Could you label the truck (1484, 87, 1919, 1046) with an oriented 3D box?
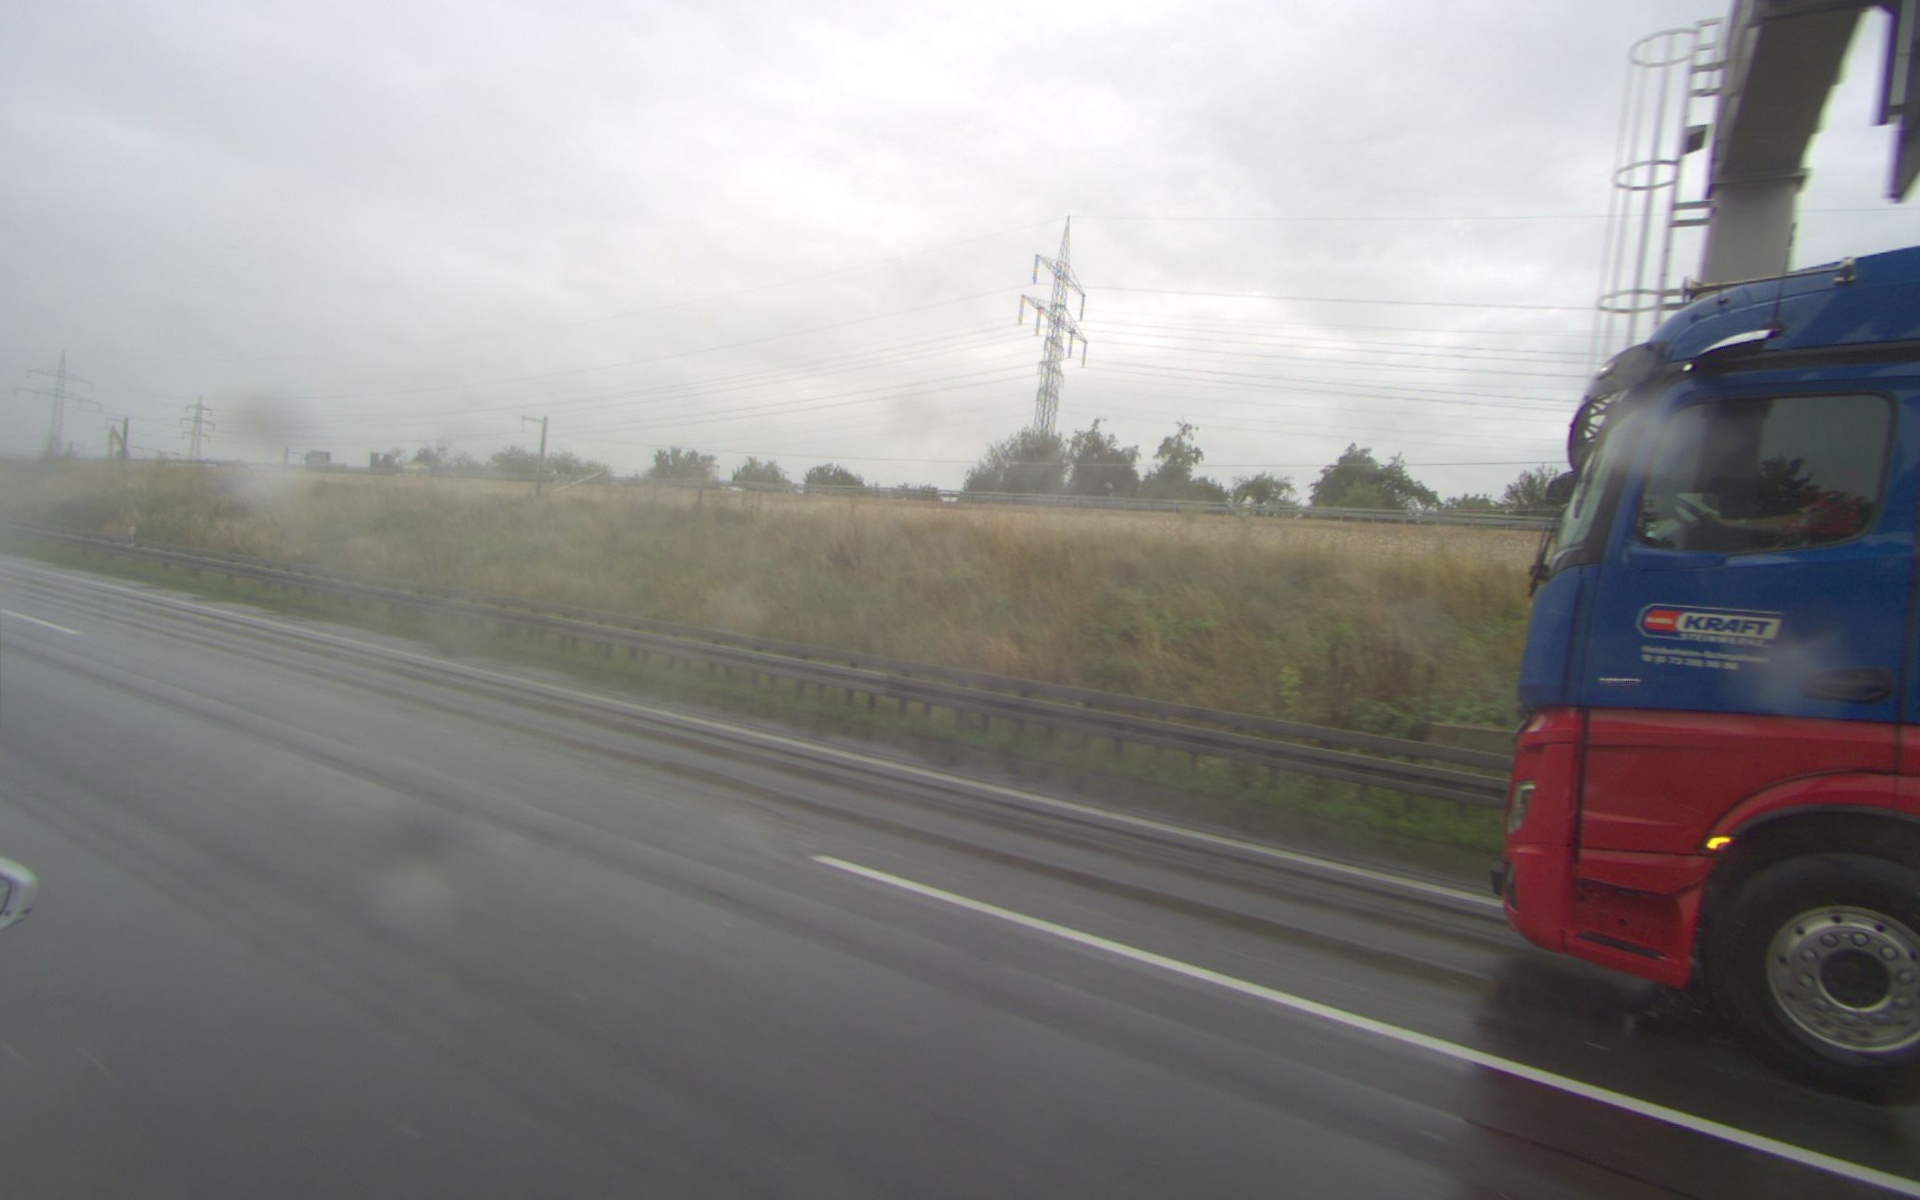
[{"bbox_3d":[5.597,0.056,4.729,4.990,4.030,2.501,8,-1,31],"label":"truck"}]
